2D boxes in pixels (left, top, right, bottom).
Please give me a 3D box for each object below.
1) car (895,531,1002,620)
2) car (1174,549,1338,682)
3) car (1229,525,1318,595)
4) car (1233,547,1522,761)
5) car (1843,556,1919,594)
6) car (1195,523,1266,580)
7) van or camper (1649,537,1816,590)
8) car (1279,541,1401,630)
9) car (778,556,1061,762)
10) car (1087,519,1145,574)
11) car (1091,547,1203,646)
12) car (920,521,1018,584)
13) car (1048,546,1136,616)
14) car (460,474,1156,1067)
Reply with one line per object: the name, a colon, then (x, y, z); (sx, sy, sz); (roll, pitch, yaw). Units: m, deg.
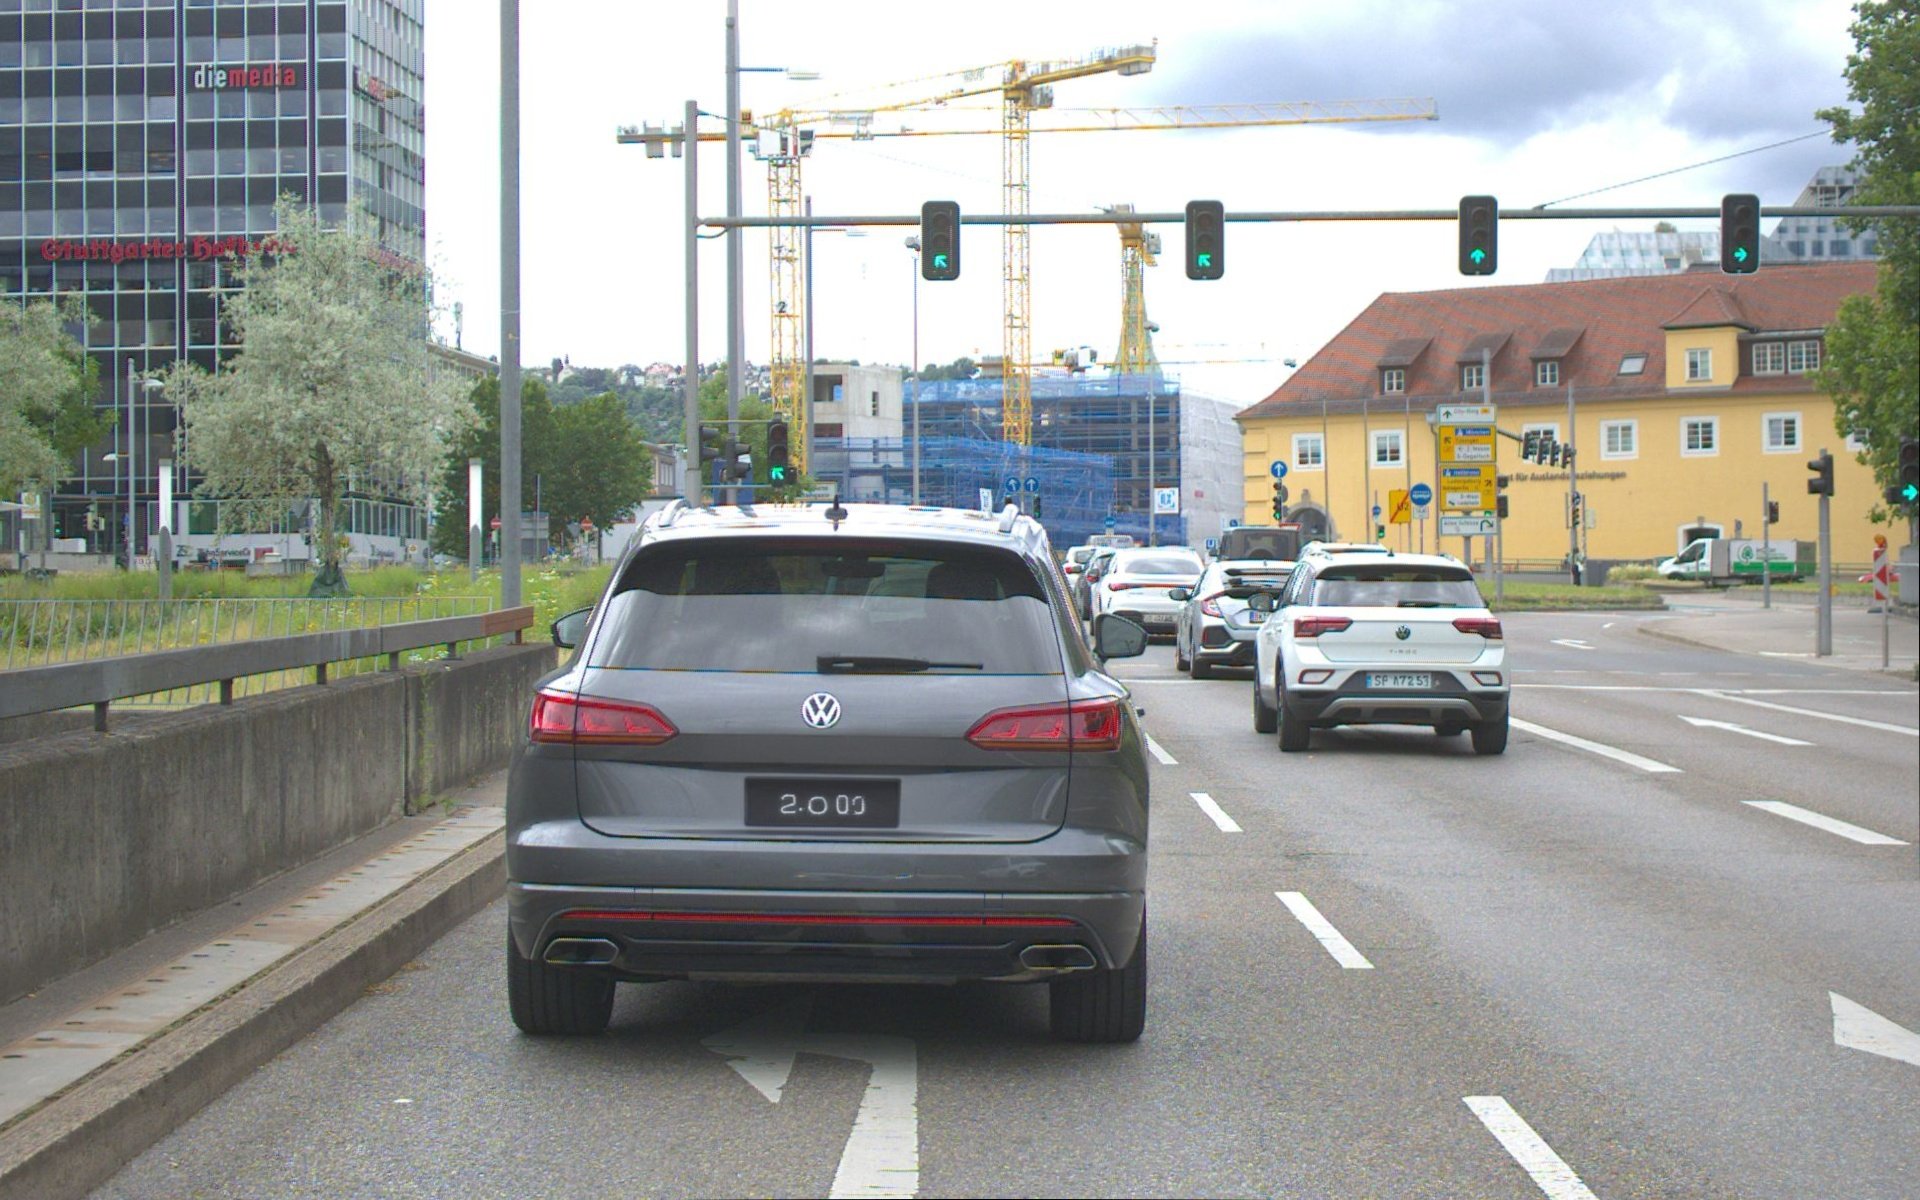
car: (-0.190, -0.452, 60.520); (1.814, 1.491, 3.906); (1, 1, 0)
car: (3.566, 0.149, 41.998); (1.719, 1.497, 4.144); (1, 1, 1)
car: (7.198, -0.945, 79.124); (1.719, 1.497, 3.981); (2, 1, 1)
car: (3.312, 0.379, 27.919); (1.893, 1.580, 3.801); (1, 1, 0)
car: (35.831, -0.934, 129.605); (4.686, 1.416, 1.594); (1, 1, 32)
car: (7.413, -1.347, 94.489); (1.719, 1.497, 3.981); (1, 1, 1)
van or camper: (30.008, -1.429, 133.635); (6.018, 2.007, 2.015); (1, 1, 36)
car: (6.731, -0.282, 61.198); (1.803, 1.497, 3.981); (1, 1, 1)
car: (-0.279, 0.392, 26.266); (1.993, 1.382, 4.000); (0, 2, 0)
car: (5.830, -2.004, 128.698); (1.993, 2.007, 4.000); (0, 1, 0)
car: (3.030, -0.085, 55.377); (1.719, 1.497, 3.981); (1, 1, 4)
car: (0.191, -1.192, 85.050); (2.244, 1.497, 4.612); (0, 1, -2)
car: (3.328, -0.486, 87.231); (2.139, 1.722, 4.070); (0, 1, 1)
car: (-0.422, 0.433, 11.611); (1.933, 1.641, 4.000); (1, 1, 0)
